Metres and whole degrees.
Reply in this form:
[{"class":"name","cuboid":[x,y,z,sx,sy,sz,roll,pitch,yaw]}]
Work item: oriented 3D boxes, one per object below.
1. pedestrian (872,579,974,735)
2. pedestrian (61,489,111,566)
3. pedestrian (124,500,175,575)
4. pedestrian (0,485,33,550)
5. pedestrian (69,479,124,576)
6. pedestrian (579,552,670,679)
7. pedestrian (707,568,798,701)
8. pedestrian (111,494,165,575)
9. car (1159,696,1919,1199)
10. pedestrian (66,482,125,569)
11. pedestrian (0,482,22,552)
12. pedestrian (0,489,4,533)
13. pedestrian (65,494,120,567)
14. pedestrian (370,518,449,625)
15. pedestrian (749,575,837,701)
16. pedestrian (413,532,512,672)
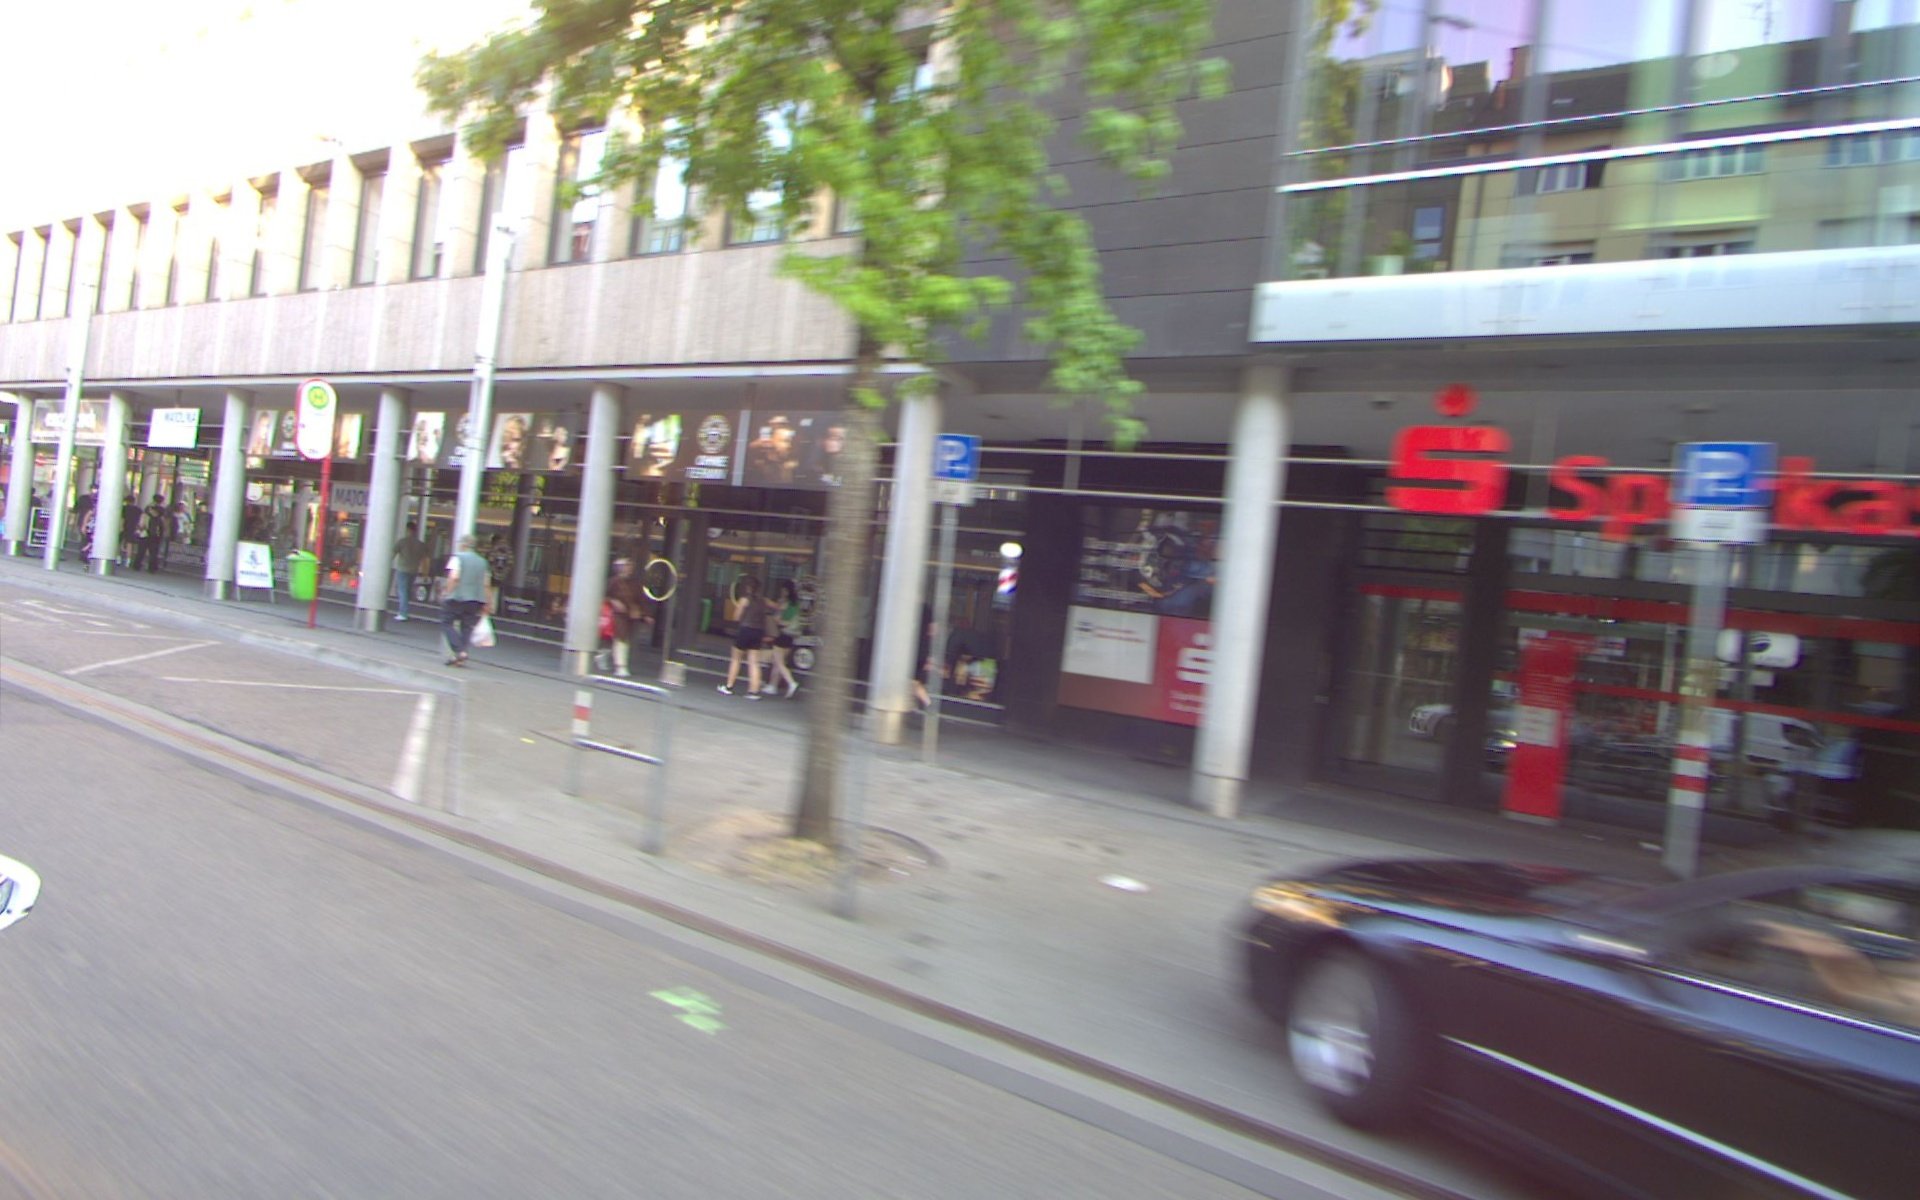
[{"class":"pedestrian","cuboid":[-0.449,0.694,12.402,0.849,1.794,0.674,6,1,30]},{"class":"pedestrian","cuboid":[-21.288,-1.759,24.496,0.760,1.775,0.583,7,1,30]},{"class":"pedestrian","cuboid":[-19.463,-1.493,24.152,0.669,1.682,0.648,7,1,32]},{"class":"pedestrian","cuboid":[-27.430,-2.388,29.144,0.607,1.753,0.571,7,1,30]},{"class":"pedestrian","cuboid":[-18.425,-1.550,21.466,0.644,1.968,0.579,6,1,31]},{"class":"pedestrian","cuboid":[-4.652,0.224,13.968,0.728,1.664,0.748,6,0,31]},{"class":"pedestrian","cuboid":[-2.765,0.457,13.427,0.775,1.664,0.682,6,1,30]},{"class":"pedestrian","cuboid":[-20.674,-1.649,25.297,0.760,1.906,0.688,7,1,30]},{"class":"car","cuboid":[2.824,1.318,2.782,1.782,1.424,4.531,9,-3,-30]},{"class":"pedestrian","cuboid":[-20.204,-1.741,23.505,0.783,1.913,0.707,6,1,31]},{"class":"pedestrian","cuboid":[-25.963,-2.270,27.009,0.844,1.820,0.845,6,1,31]},{"class":"pedestrian","cuboid":[-23.855,-1.962,24.397,0.724,1.589,0.725,6,1,32]},{"class":"pedestrian","cuboid":[-22.974,-1.842,26.659,0.761,1.794,0.774,6,1,30]},{"class":"pedestrian","cuboid":[-10.550,-0.540,19.295,0.884,1.913,0.845,6,1,31]},{"class":"pedestrian","cuboid":[-2.351,0.538,14.177,0.805,1.664,0.711,6,1,30]},{"class":"pedestrian","cuboid":[-6.148,0.032,12.446,0.627,1.606,0.670,7,-2,30]}]
